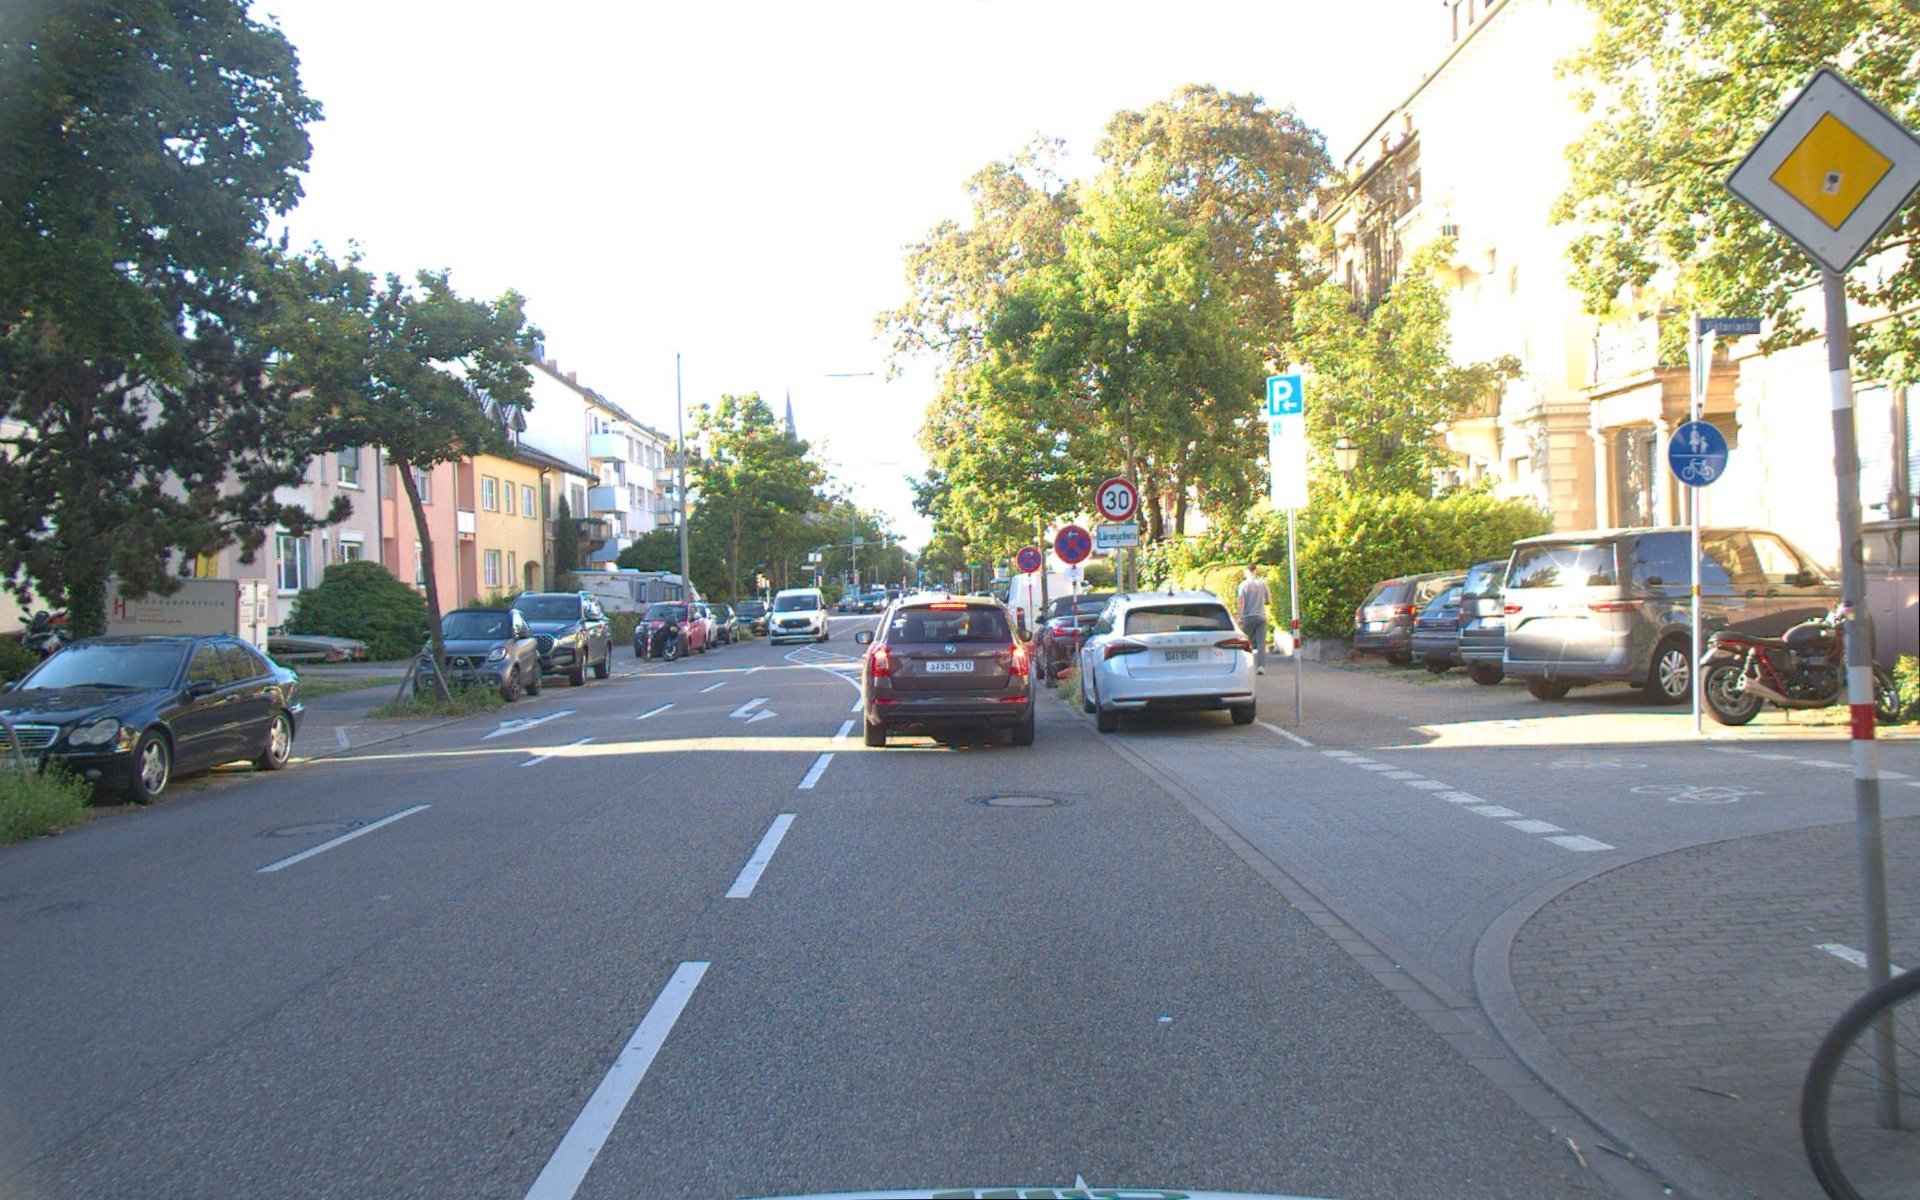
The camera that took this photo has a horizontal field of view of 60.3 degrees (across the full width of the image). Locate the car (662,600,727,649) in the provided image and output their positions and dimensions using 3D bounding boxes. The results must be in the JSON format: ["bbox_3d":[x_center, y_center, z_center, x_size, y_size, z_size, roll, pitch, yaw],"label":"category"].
[{"bbox_3d":[-8.705,0.779,54.444,1.630,1.457,3.274,-2,1,-1],"label":"car"}]

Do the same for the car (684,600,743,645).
[{"bbox_3d":[-8.759,0.772,58.987,1.630,1.457,3.274,-2,1,-1],"label":"car"}]

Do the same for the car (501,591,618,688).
[{"bbox_3d":[-8.039,0.746,33.471,1.476,1.788,3.693,-2,1,-1],"label":"car"}]

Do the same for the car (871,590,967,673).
[{"bbox_3d":[-0.899,0.593,33.808,1.696,1.520,3.947,-2,1,-5],"label":"car"}]

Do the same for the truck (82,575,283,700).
[{"bbox_3d":[-14.111,0.654,30.116,2.855,2.130,1.546,-2,1,-2],"label":"truck"}]

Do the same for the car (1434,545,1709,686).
[{"bbox_3d":[8.374,0.167,22.577,3.762,1.708,1.496,-2,1,-31],"label":"car"}]

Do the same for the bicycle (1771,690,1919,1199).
[{"bbox_3d":[2.657,0.799,3.358,1.635,1.247,0.636,-4,0,12],"label":"bicycle"}]

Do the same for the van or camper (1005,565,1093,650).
[{"bbox_3d":[2.263,0.168,43.010,1.953,2.048,3.999,-2,1,-1],"label":"van or camper"}]

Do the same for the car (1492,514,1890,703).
[{"bbox_3d":[8.515,0.037,19.197,4.483,1.925,1.896,-2,1,-29],"label":"car"}]

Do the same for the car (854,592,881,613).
[{"bbox_3d":[-7.484,0.192,133.775,1.953,1.534,3.999,-2,0,-1],"label":"car"}]

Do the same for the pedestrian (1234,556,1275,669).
[{"bbox_3d":[4.873,0.202,27.398,0.524,1.825,0.687,-2,0,1],"label":"pedestrian"}]

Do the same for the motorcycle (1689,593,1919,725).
[{"bbox_3d":[7.983,0.540,15.609,2.012,1.144,0.525,-2,1,-6],"label":"motorcycle"}]

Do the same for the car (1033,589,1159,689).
[{"bbox_3d":[2.192,0.588,27.538,1.783,1.437,4.112,-2,1,1],"label":"car"}]

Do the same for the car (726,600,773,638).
[{"bbox_3d":[-8.902,0.794,70.151,1.630,1.457,3.274,-2,1,-1],"label":"car"}]

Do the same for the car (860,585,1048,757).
[{"bbox_3d":[-0.074,0.640,17.278,1.694,1.520,3.950,-2,1,-1],"label":"car"}]

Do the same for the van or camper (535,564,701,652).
[{"bbox_3d":[-16.458,0.344,79.813,7.488,3.942,1.999,-2,1,-3],"label":"van or camper"}]

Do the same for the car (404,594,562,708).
[{"bbox_3d":[-8.223,0.829,28.801,1.715,1.771,3.590,-2,1,-1],"label":"car"}]

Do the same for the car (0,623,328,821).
[{"bbox_3d":[-7.690,1.034,15.628,1.718,1.445,4.425,-2,1,0],"label":"car"}]

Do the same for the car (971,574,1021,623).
[{"bbox_3d":[1.403,-0.079,66.289,1.695,1.846,3.949,-2,1,-2],"label":"car"}]

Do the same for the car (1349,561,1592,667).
[{"bbox_3d":[8.435,0.202,27.317,3.749,1.552,1.501,-2,1,-23],"label":"car"}]

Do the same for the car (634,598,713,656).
[{"bbox_3d":[-8.399,0.768,48.760,1.630,1.538,4.178,-2,1,-1],"label":"car"}]

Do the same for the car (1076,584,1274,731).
[{"bbox_3d":[2.360,0.576,19.112,1.783,1.437,4.112,-2,1,1],"label":"car"}]

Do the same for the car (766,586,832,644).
[{"bbox_3d":[-5.424,0.471,56.111,1.839,1.788,4.178,-2,1,-1],"label":"car"}]

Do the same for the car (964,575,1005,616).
[{"bbox_3d":[1.135,-0.247,78.776,1.695,1.846,3.949,-2,1,-2],"label":"car"}]

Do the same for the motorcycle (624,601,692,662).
[{"bbox_3d":[-8.014,0.825,43.851,0.761,1.538,1.998,-2,1,-43],"label":"motorcycle"}]

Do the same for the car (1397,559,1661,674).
[{"bbox_3d":[8.675,0.224,25.199,3.749,1.552,1.501,-2,1,-23],"label":"car"}]
